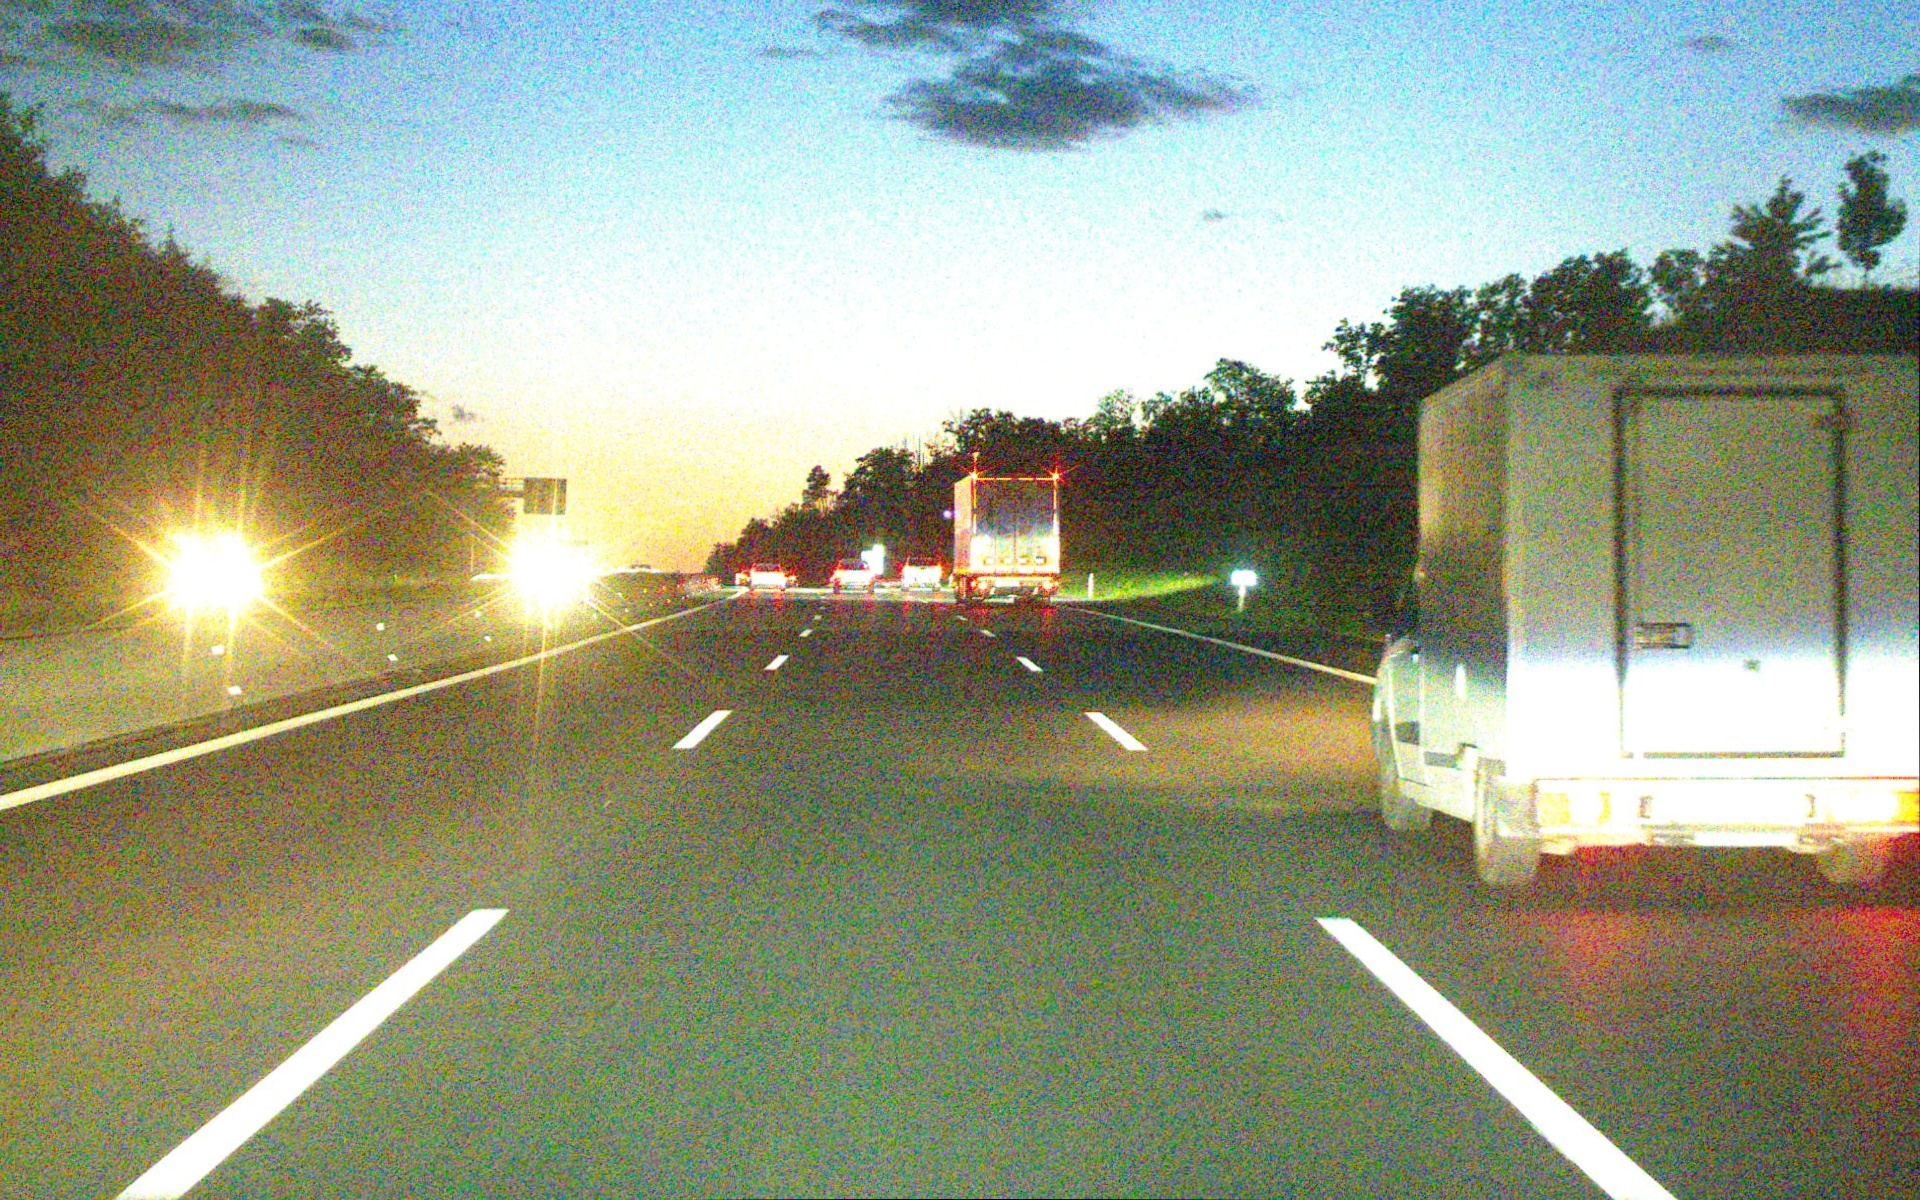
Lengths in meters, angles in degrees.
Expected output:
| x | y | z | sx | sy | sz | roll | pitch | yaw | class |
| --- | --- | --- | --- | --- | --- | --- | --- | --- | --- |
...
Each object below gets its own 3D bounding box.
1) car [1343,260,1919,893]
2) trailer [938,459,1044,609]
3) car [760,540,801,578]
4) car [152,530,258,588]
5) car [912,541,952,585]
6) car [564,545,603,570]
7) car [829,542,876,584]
| x | y | z | sx | sy | sz | roll | pitch | yaw | class |
| --- | --- | --- | --- | --- | --- | --- | --- | --- | --- |
| 3.268 | -0.136 | 17.259 | 2.032 | 2.638 | 5.725 | 0 | 1 | 0 | car |
| 0.854 | -1.906 | 109.531 | 2.829 | 4.242 | 17.049 | 0 | -1 | -1 | trailer |
| -9.086 | -2.052 | 173.707 | 1.993 | 1.788 | 4.000 | 1 | -1 | -4 | car |
| -22.509 | -1.230 | 102.667 | 2.244 | 1.662 | 4.888 | 0 | 1 | -2 | car |
| -1.425 | -1.879 | 175.126 | 1.993 | 2.110 | 4.000 | 0 | -1 | -1 | car |
| -24.410 | -2.760 | 222.859 | 2.244 | 1.592 | 4.888 | 0 | 1 | -3 | car |
| -4.892 | -1.661 | 155.689 | 1.993 | 1.788 | 4.000 | 1 | -1 | -3 | car |
